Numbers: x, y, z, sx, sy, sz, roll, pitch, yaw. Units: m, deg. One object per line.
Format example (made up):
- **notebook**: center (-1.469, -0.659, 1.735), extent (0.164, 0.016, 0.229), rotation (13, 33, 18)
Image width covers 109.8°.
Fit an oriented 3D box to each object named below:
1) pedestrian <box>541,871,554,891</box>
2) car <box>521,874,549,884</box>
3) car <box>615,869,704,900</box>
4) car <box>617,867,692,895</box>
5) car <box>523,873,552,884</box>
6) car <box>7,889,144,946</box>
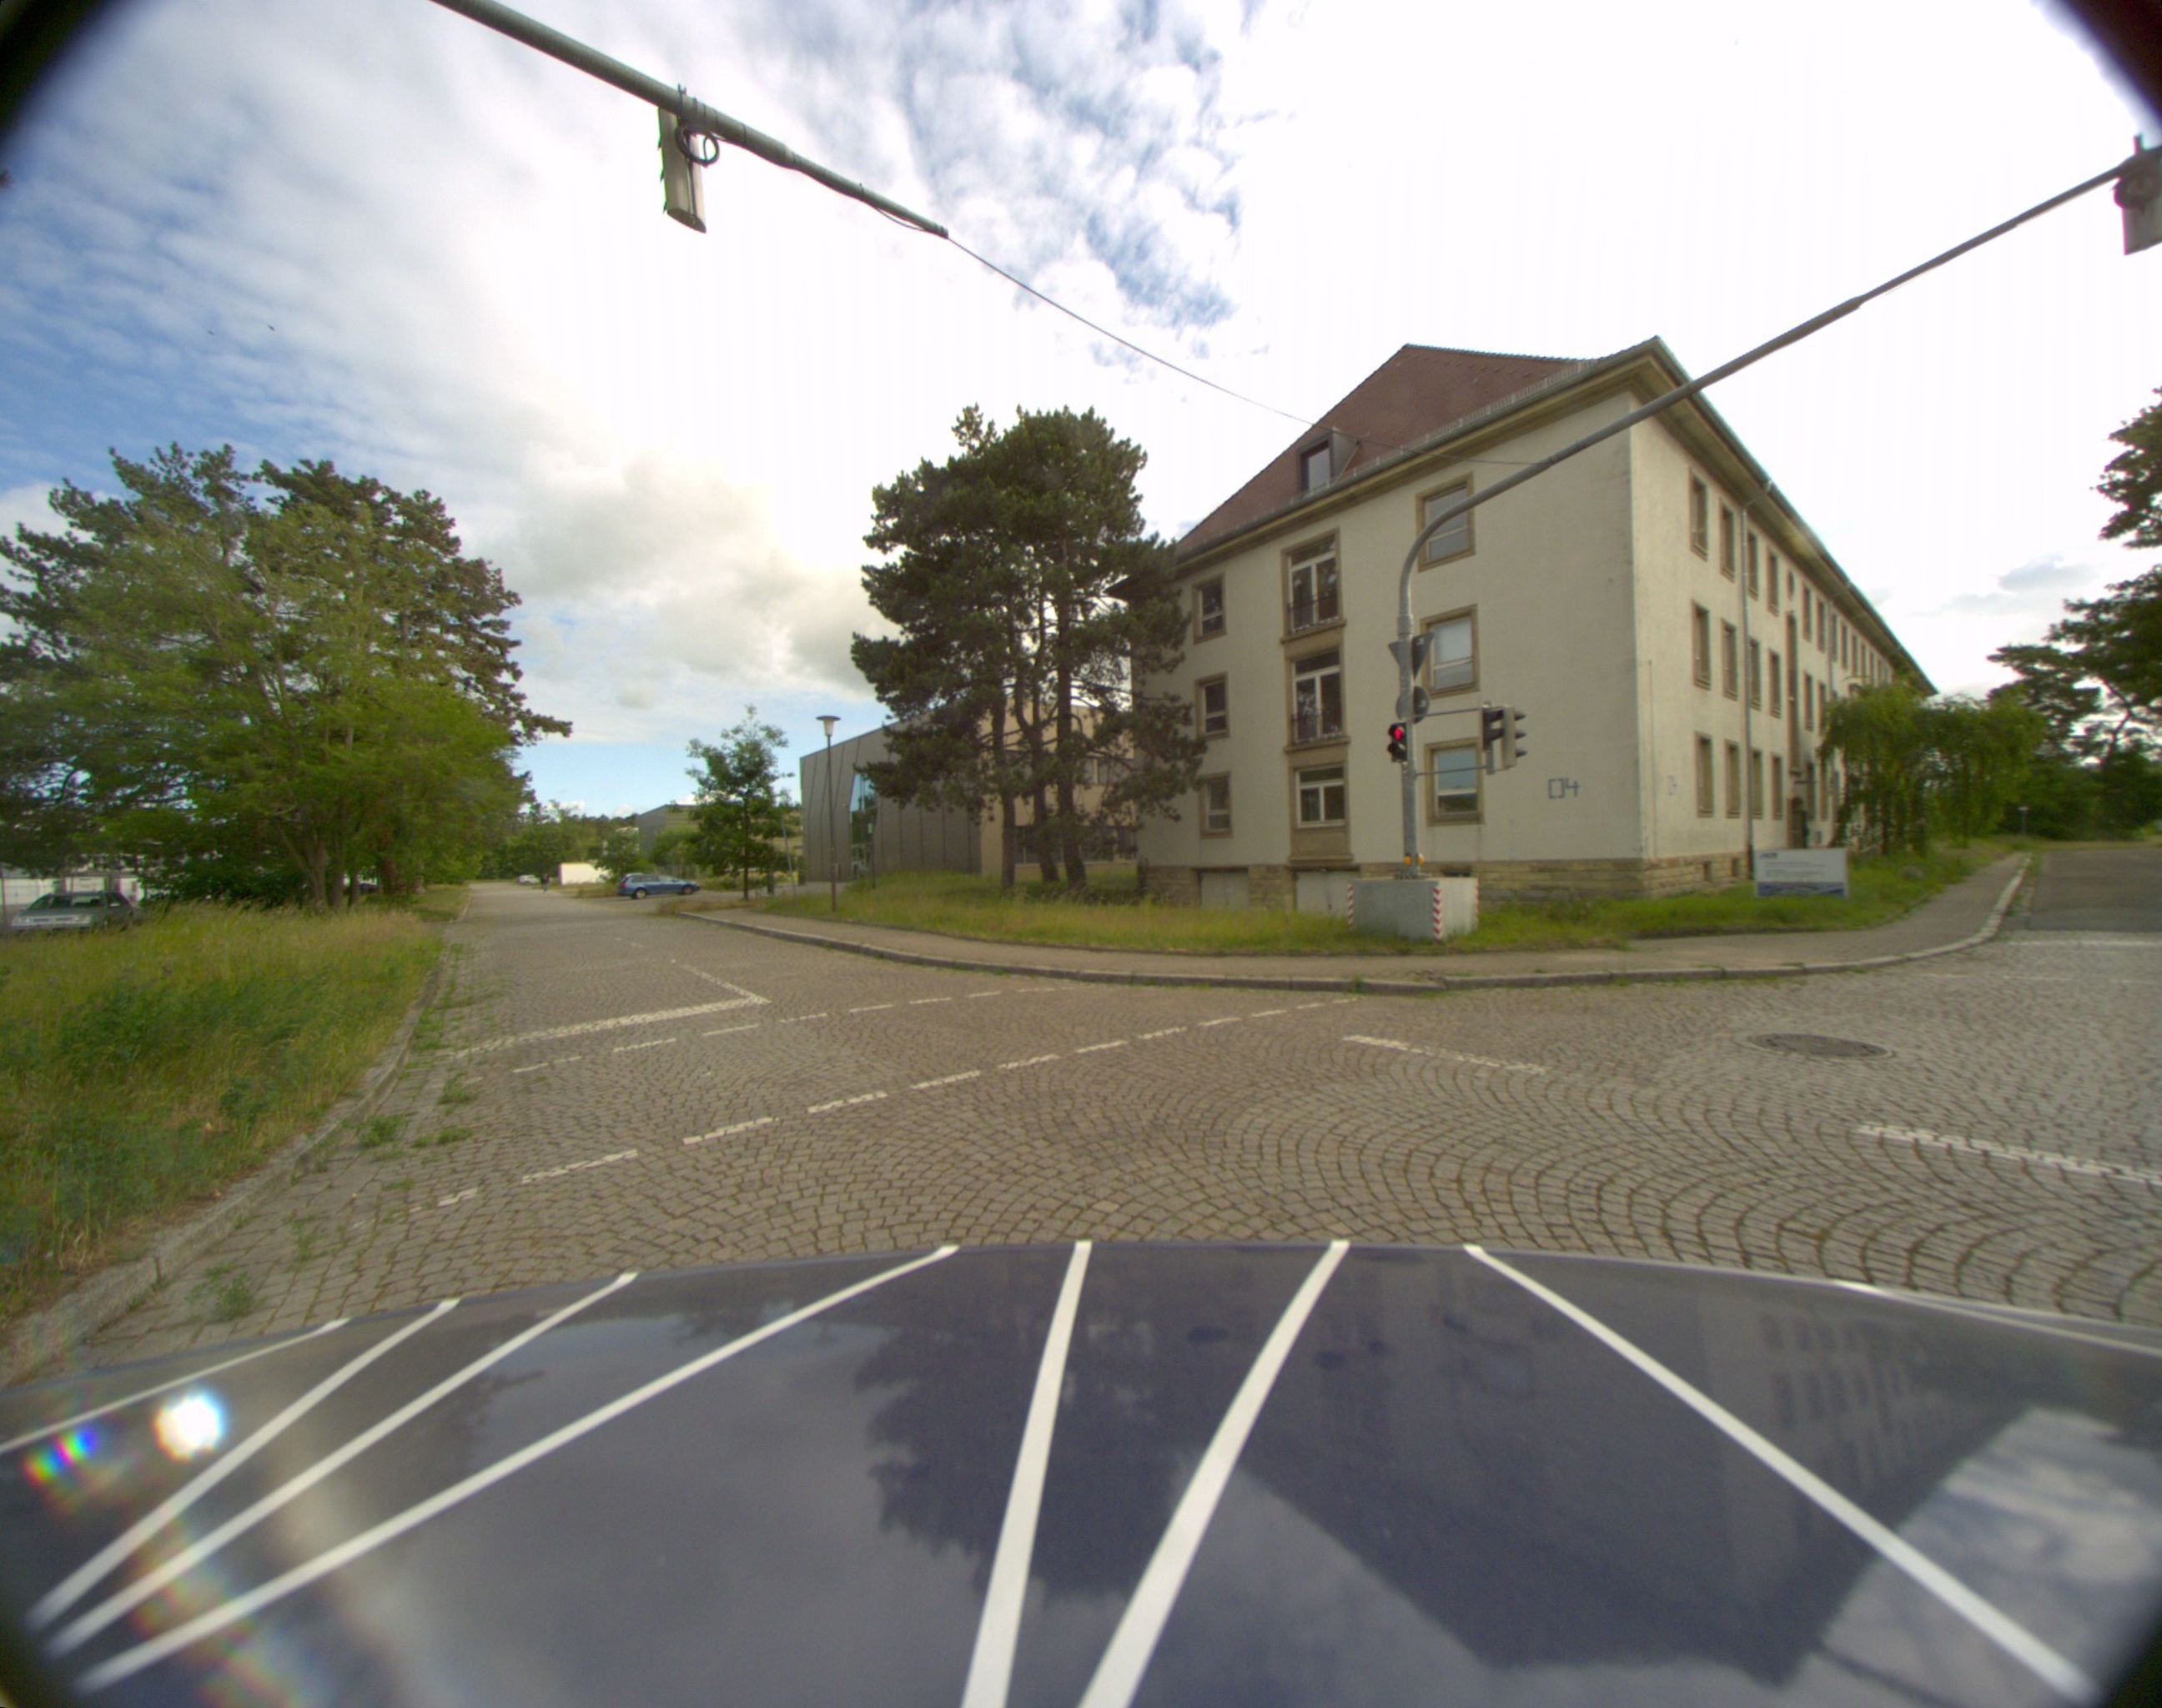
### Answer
- **pedestrian**: center (-46.944, 2.372, 66.857), extent (0.877, 1.713, 1.004), rotation (-2, 1, -35)
- **car**: center (-99.142, 4.575, 137.893), extent (4.089, 1.565, 1.781), rotation (-2, 0, -36)
- **car**: center (-26.052, 1.854, 47.042), extent (4.425, 1.455, 1.833), rotation (-5, 3, -41)
- **car**: center (-29.967, 1.865, 53.400), extent (4.202, 1.578, 1.833), rotation (-5, 3, -41)
- **car**: center (-97.478, 4.379, 136.325), extent (4.089, 1.828, 1.781), rotation (-2, 0, -36)
- **car**: center (-31.578, 1.922, 24.015), extent (1.868, 1.465, 4.139), rotation (-2, 0, -43)
